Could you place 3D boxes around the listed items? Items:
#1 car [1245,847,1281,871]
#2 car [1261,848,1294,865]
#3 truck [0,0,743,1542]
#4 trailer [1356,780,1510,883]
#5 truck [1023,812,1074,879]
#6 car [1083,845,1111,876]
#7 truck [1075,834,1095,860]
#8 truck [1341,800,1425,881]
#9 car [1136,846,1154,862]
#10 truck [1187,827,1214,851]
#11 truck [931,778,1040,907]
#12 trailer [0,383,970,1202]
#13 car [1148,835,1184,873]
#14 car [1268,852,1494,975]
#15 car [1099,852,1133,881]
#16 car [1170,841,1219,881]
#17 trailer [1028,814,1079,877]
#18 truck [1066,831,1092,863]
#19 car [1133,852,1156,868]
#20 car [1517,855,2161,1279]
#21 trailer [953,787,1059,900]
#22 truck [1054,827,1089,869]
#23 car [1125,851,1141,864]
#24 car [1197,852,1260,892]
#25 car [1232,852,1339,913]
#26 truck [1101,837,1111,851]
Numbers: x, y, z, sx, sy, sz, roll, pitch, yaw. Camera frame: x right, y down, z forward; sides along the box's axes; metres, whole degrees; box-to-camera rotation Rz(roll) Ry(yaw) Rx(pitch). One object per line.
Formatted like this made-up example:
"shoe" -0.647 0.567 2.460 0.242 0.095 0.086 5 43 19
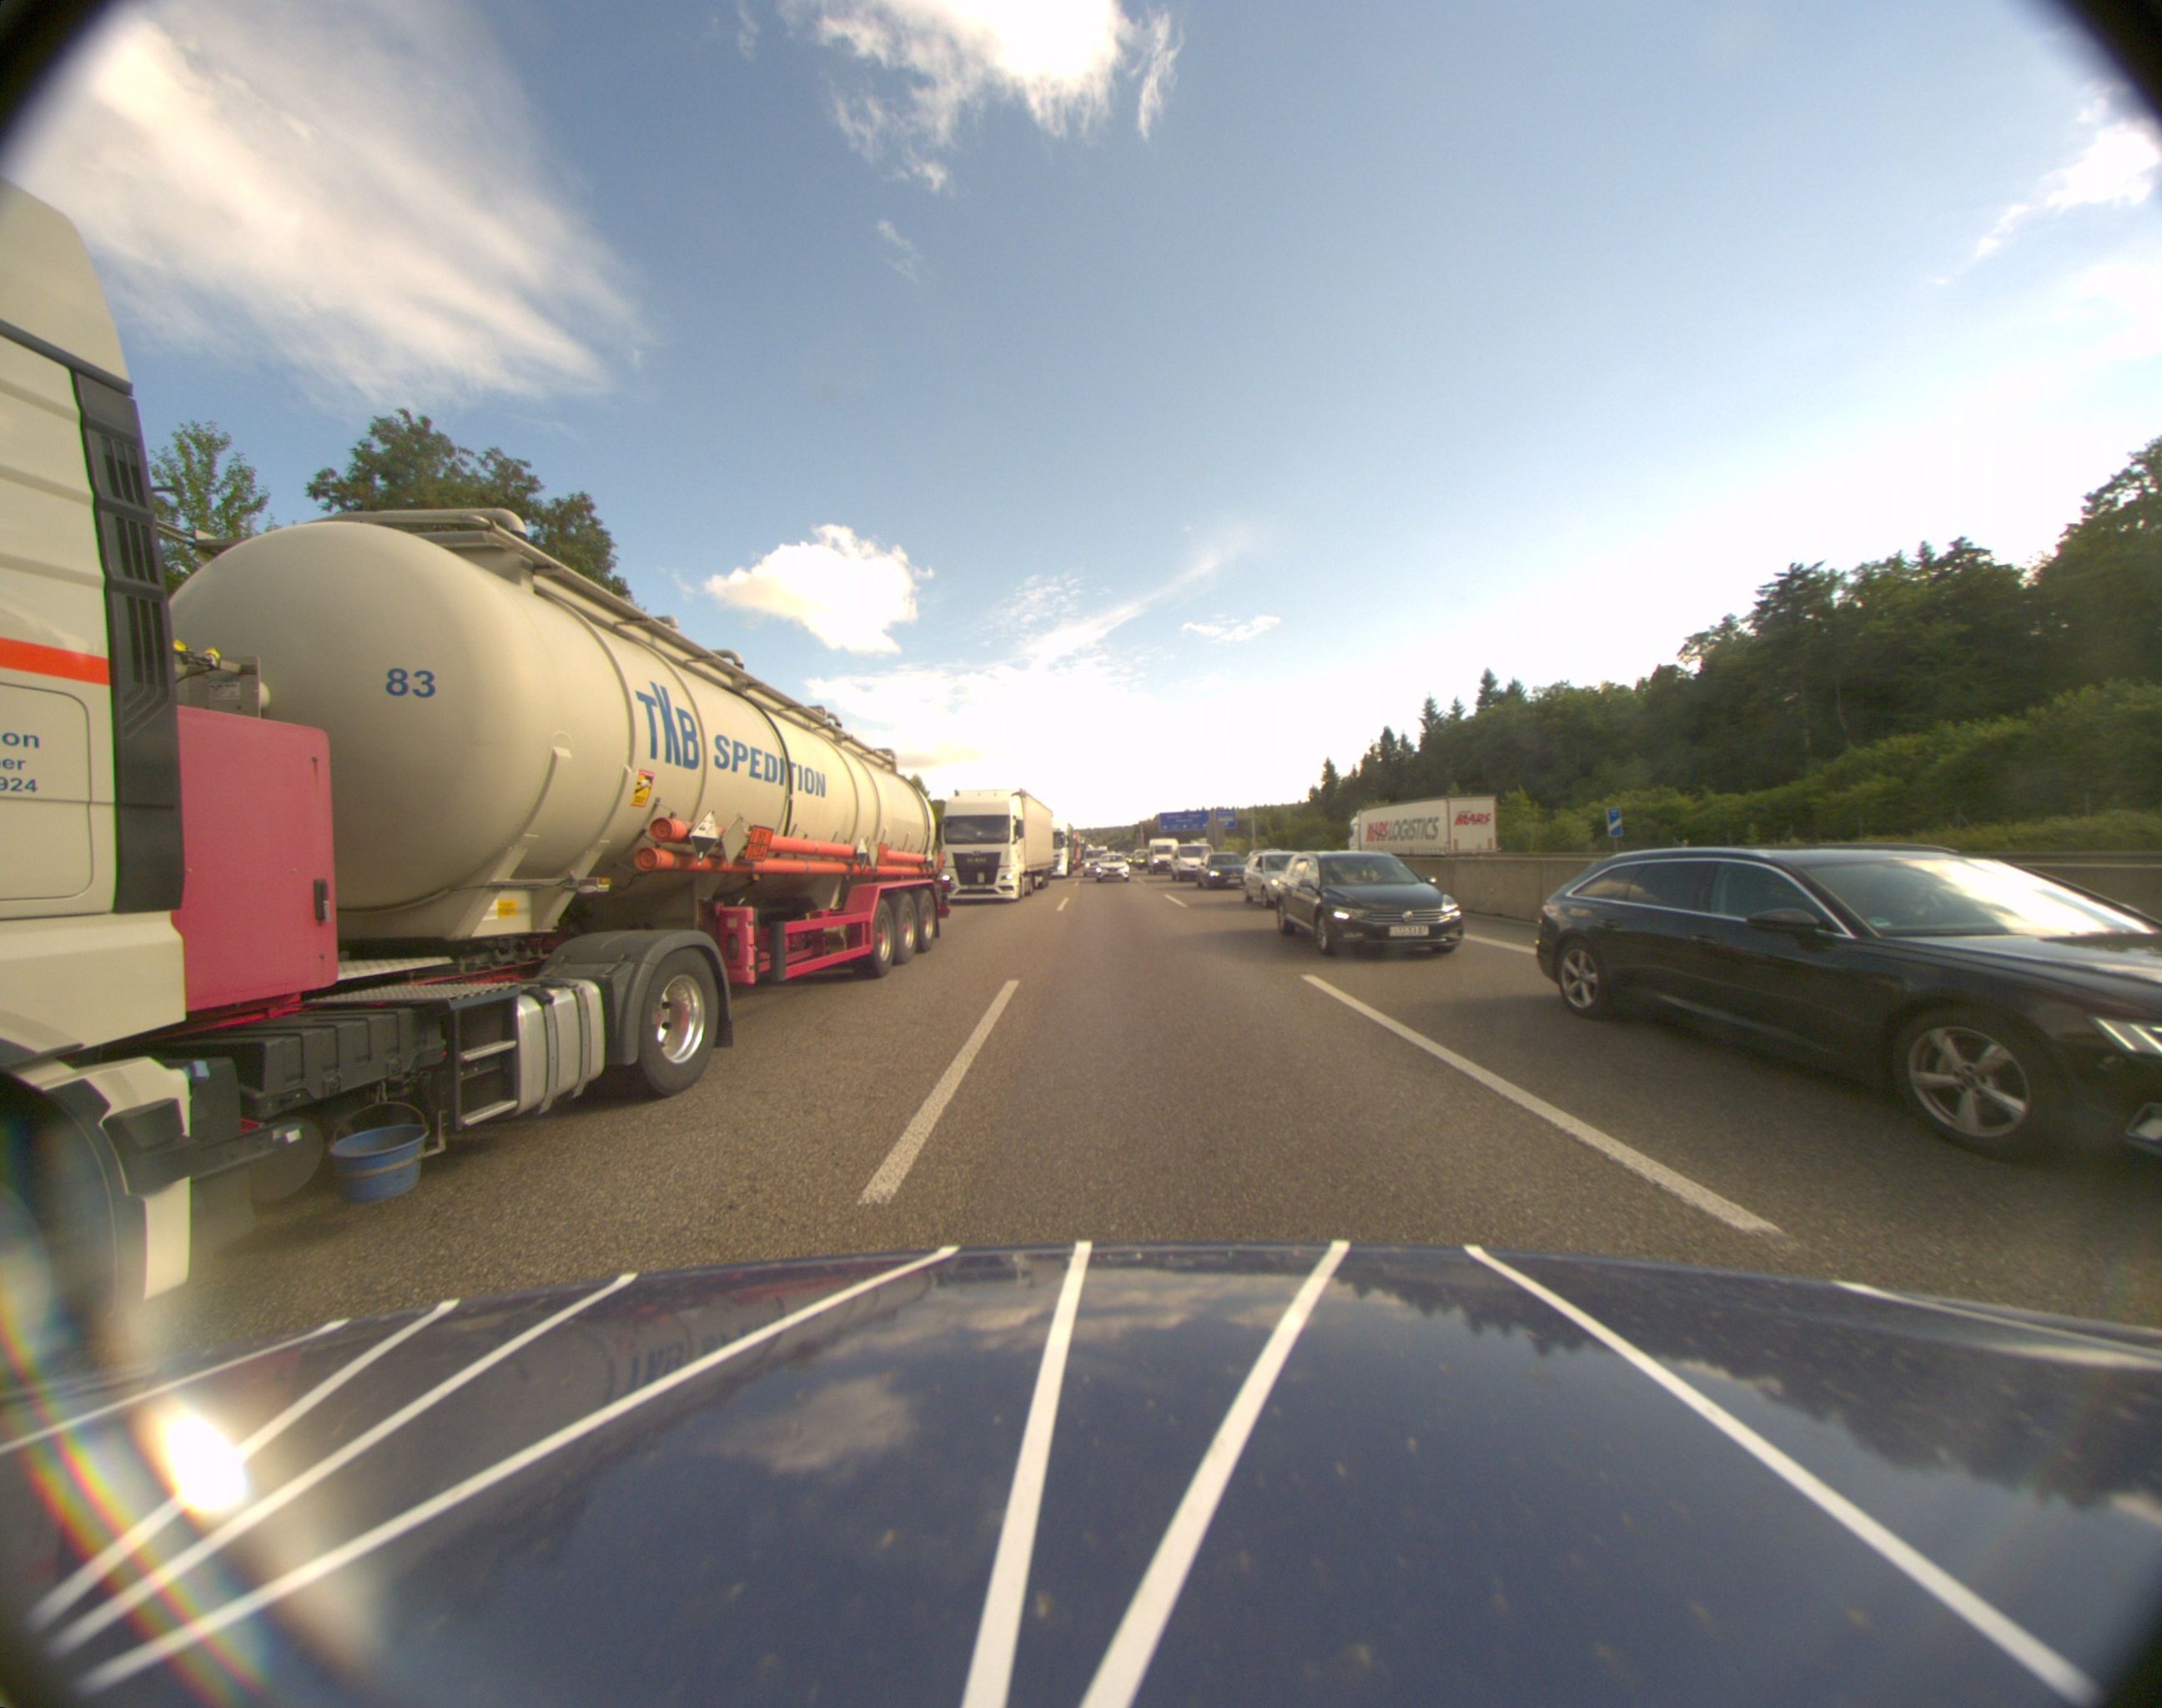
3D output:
"car" 14.303 0.366 59.908 1.857 1.799 4.323 -2 0 1
"car" 18.116 0.206 70.126 1.959 1.419 4.323 -2 0 1
"truck" -4.125 -0.258 2.781 2.809 4.020 5.904 -2 1 2
"trailer" 20.854 -1.279 46.546 3.050 5.250 13.833 -2 1 1
"truck" -2.113 -0.570 51.655 2.841 4.178 5.707 -2 0 2
"car" 1.158 0.420 53.725 1.809 2.052 4.770 -2 0 2
"truck" 0.758 -1.298 136.014 2.840 4.178 12.045 -2 1 3
"truck" 20.982 -0.946 53.212 3.047 5.223 6.882 -2 1 1
"car" 7.723 -0.004 91.948 1.920 1.785 3.811 -2 0 2
"truck" 23.030 -2.825 147.160 2.939 4.329 13.908 -2 1 1
"truck" -3.226 -0.386 27.209 2.840 4.048 5.708 -2 1 2
"trailer" -3.863 -0.313 9.388 2.805 4.003 11.182 -2 1 2
"car" 6.113 -0.042 55.089 2.054 2.557 5.861 -1 0 2
"car" 4.314 0.745 11.792 1.915 1.469 4.569 -2 0 3
"car" 1.933 0.656 43.064 1.809 1.488 4.666 -1 0 2
"car" 6.008 0.345 40.607 1.947 1.953 4.848 -2 0 2
"trailer" -1.898 -0.639 58.542 2.841 4.177 13.613 -2 0 2
"truck" -0.174 -1.071 107.695 2.840 4.178 12.045 -2 1 3
"car" 5.910 0.531 71.047 1.809 1.423 3.660 -2 0 2
"car" 5.001 0.796 4.737 1.887 1.463 4.852 -2 0 2
"trailer" -2.943 -0.444 34.499 2.832 4.047 13.372 -2 1 2
"truck" -0.929 -0.704 82.739 2.840 4.178 12.045 -2 1 3
"car" 6.842 0.439 99.893 1.920 1.535 3.811 -2 0 2
"car" 5.879 0.668 30.690 1.809 1.423 3.994 -2 0 2
"car" 5.547 0.709 21.241 1.809 1.423 4.666 -2 0 2
"truck" 8.170 -3.199 245.291 2.840 4.178 12.045 -2 1 3
